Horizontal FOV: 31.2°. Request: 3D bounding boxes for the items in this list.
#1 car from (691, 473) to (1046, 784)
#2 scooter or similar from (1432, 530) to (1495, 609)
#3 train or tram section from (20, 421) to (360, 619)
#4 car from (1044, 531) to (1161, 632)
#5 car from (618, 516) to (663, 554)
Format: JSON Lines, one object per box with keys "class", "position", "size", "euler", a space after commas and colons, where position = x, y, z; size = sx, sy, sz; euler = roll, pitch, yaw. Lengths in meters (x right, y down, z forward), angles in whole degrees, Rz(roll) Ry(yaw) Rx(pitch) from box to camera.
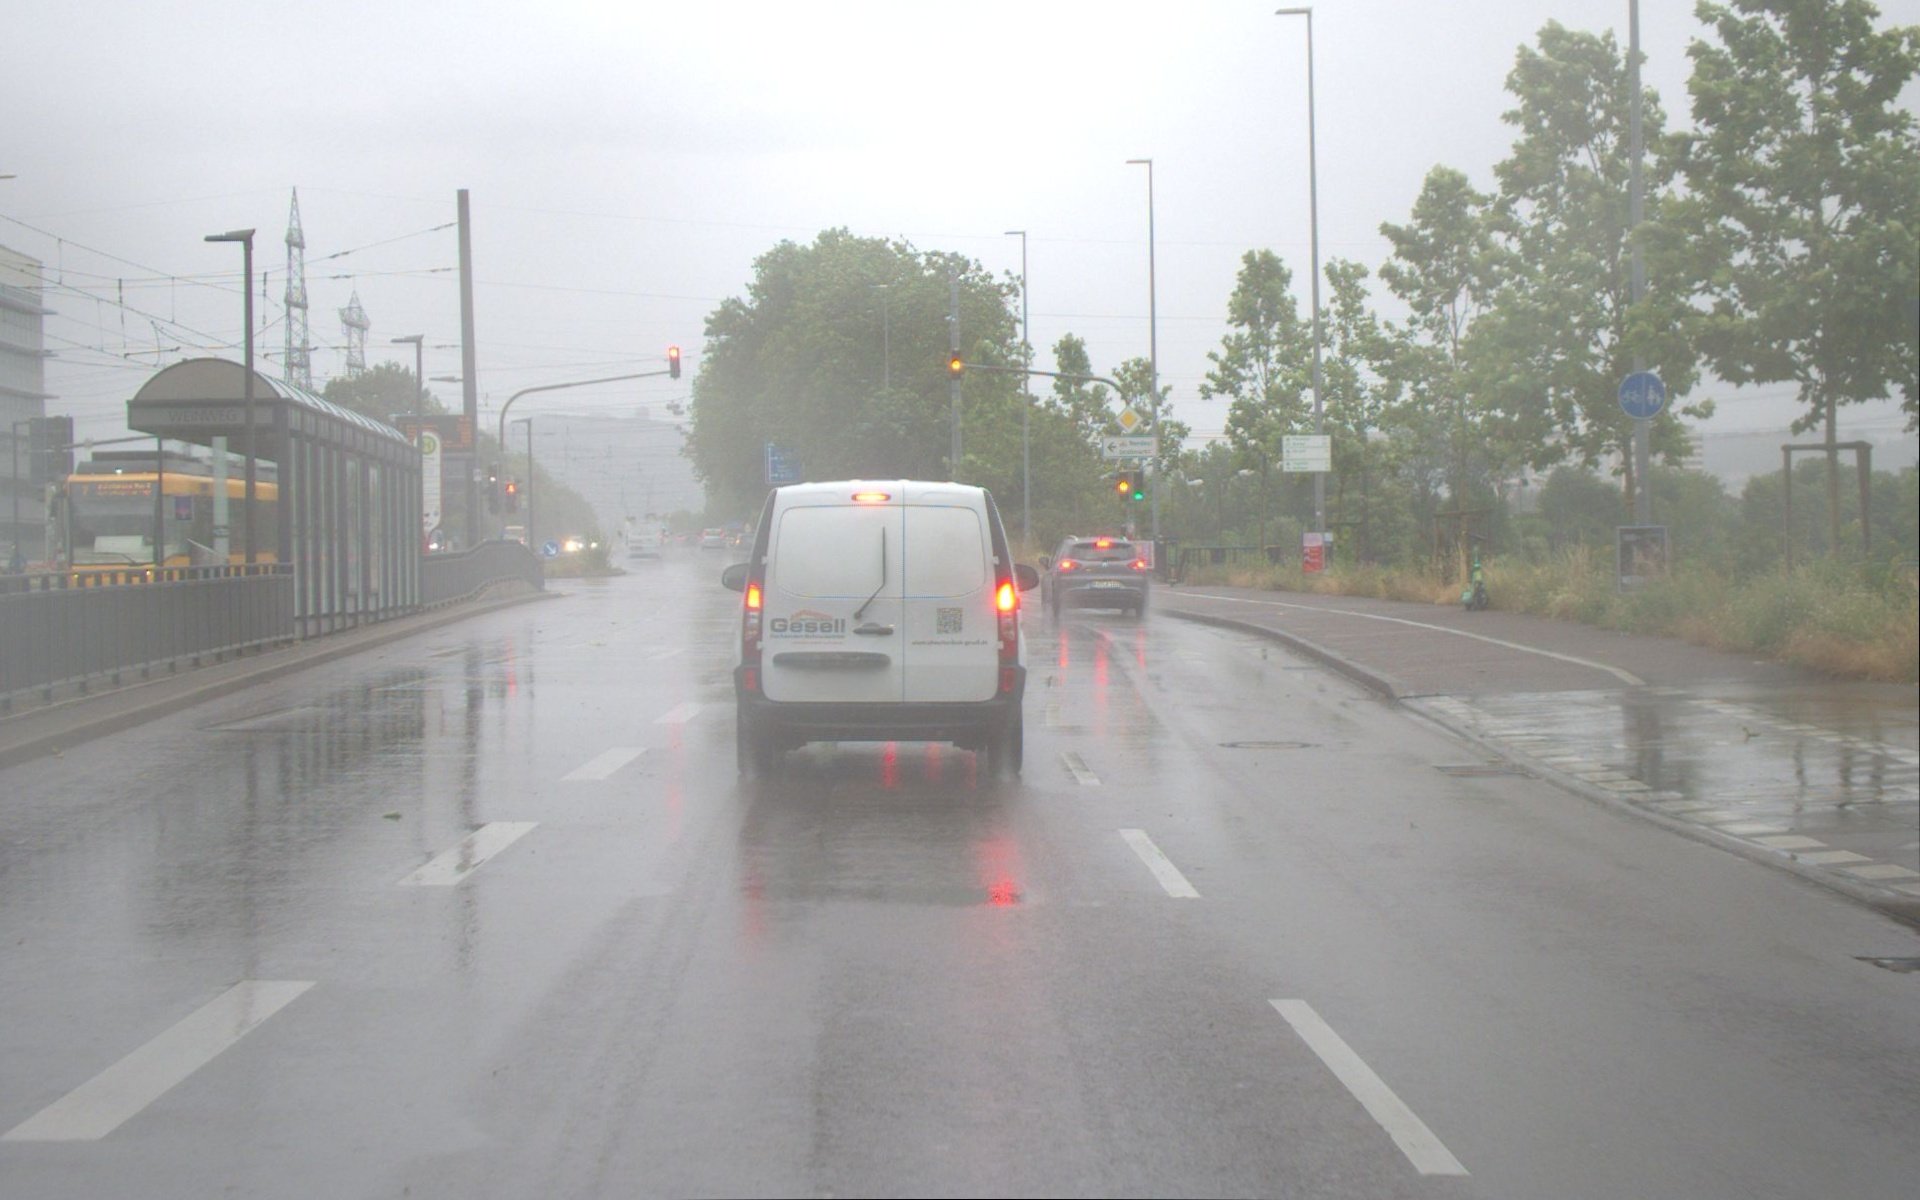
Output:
{"class": "car", "position": [-0.669, 0.131, 22.095], "size": [2.024, 1.769, 4.275], "euler": [1, 1, -4]}
{"class": "scooter or similar", "position": [7.814, -0.482, 53.392], "size": [0.642, 1.191, 1.563], "euler": [-1, 1, -4]}
{"class": "train or tram section", "position": [-18.333, -1.894, 84.905], "size": [3.770, 4.022, 27.097], "euler": [1, 1, -3]}
{"class": "car", "position": [2.568, -0.354, 62.718], "size": [1.993, 1.744, 4.000], "euler": [1, 1, 1]}
{"class": "car", "position": [-15.286, -3.114, 164.305], "size": [1.993, 1.744, 4.001], "euler": [1, 1, -8]}
